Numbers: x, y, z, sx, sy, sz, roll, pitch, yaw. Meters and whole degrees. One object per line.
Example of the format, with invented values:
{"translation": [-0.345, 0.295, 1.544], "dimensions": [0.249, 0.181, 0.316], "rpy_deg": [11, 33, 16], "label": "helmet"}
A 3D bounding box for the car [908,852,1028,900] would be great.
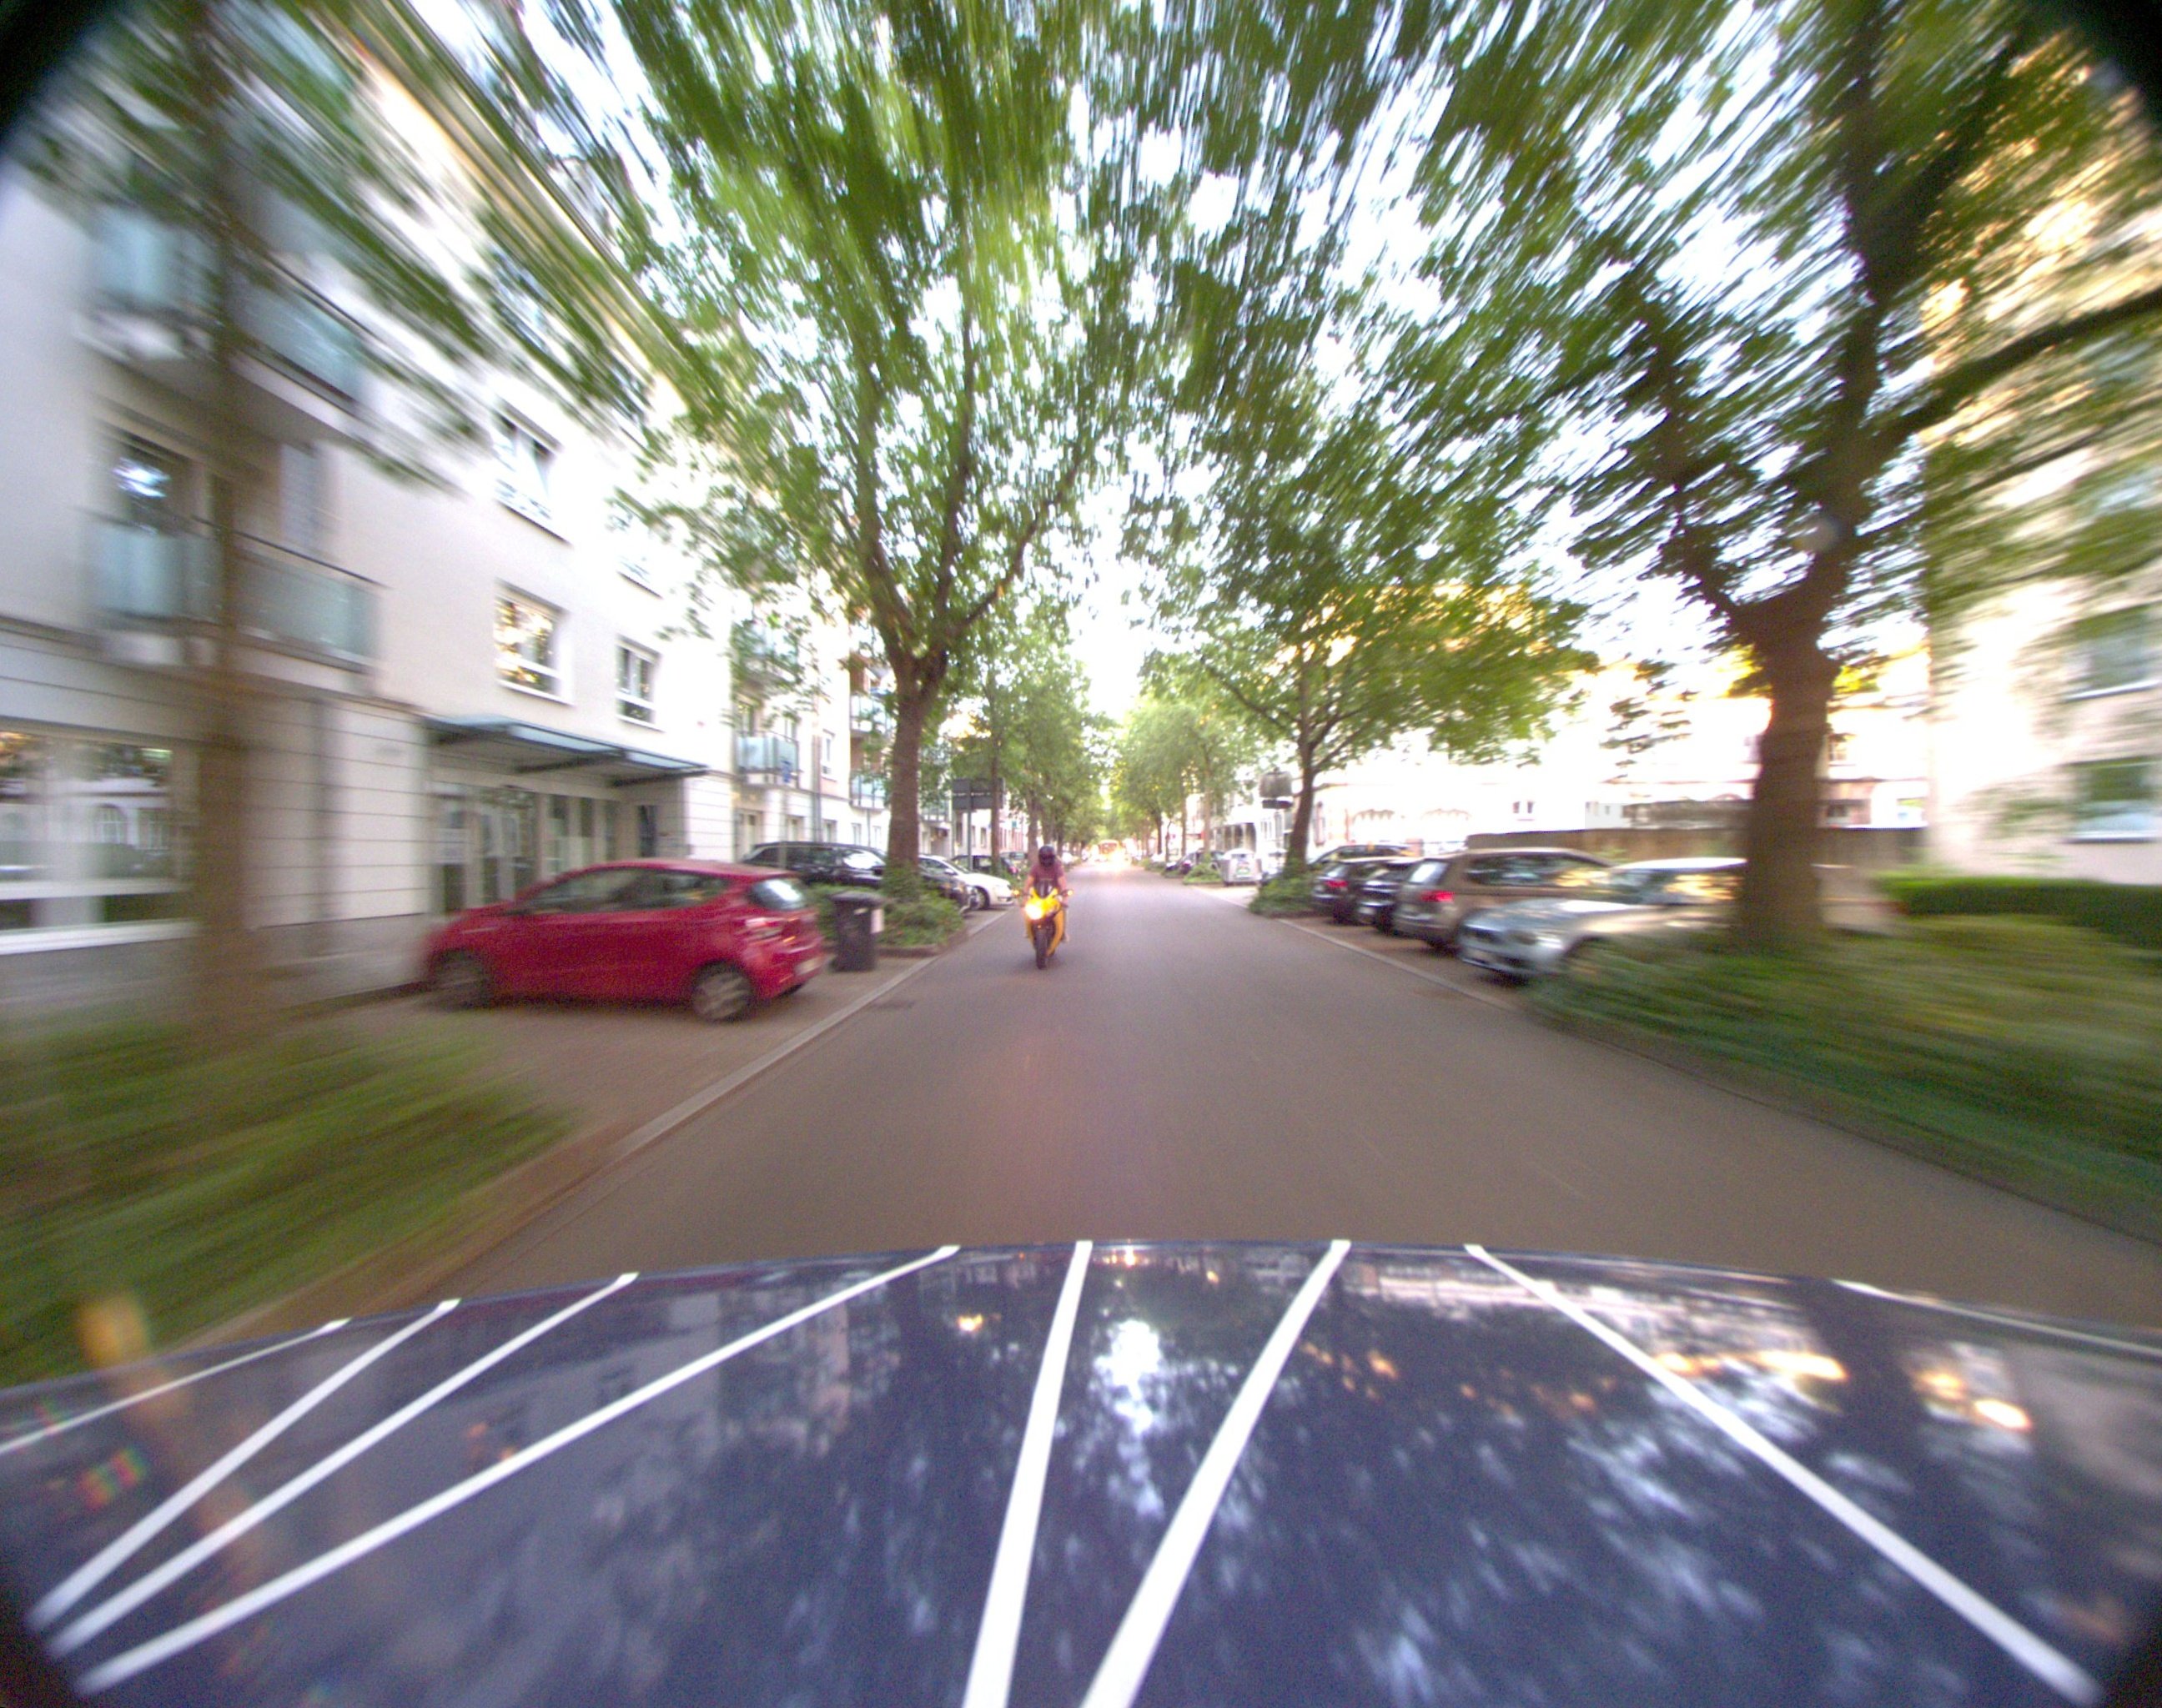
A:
{"translation": [-3.952, 0.756, 27.079], "dimensions": [3.998, 1.466, 1.913], "rpy_deg": [3, 0, -3], "label": "car"}

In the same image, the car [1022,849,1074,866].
{"translation": [-2.973, 0.296, 69.215], "dimensions": [4.594, 1.461, 1.696], "rpy_deg": [1, 1, 3], "label": "car"}

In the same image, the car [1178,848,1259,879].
{"translation": [7.314, 0.502, 40.807], "dimensions": [3.997, 1.579, 1.828], "rpy_deg": [-1, 1, -1], "label": "car"}

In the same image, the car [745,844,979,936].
{"translation": [-4.473, 0.709, 16.098], "dimensions": [4.396, 1.694, 1.894], "rpy_deg": [2, 1, -4], "label": "car"}

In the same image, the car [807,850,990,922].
{"translation": [-4.416, 0.738, 18.762], "dimensions": [3.996, 1.516, 1.727], "rpy_deg": [2, 1, 3], "label": "car"}

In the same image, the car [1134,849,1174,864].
{"translation": [8.630, 0.304, 90.146], "dimensions": [4.475, 1.748, 1.791], "rpy_deg": [0, 1, -2], "label": "car"}

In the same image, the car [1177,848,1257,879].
{"translation": [7.283, 0.491, 40.905], "dimensions": [3.997, 1.582, 1.789], "rpy_deg": [-1, 1, 1], "label": "car"}

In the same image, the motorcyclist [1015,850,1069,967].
{"translation": [-0.541, 0.753, 10.931], "dimensions": [0.722, 1.605, 0.915], "rpy_deg": [-1, 1, -1], "label": "motorcyclist"}

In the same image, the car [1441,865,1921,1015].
{"translation": [6.586, 0.892, 8.677], "dimensions": [4.110, 1.371, 1.746], "rpy_deg": [-2, 1, -1], "label": "car"}

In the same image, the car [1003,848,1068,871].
{"translation": [-3.206, 0.393, 54.476], "dimensions": [4.366, 1.461, 1.732], "rpy_deg": [2, 1, 6], "label": "car"}

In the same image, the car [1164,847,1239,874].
{"translation": [7.729, 0.422, 48.856], "dimensions": [4.547, 1.673, 1.621], "rpy_deg": [0, 1, -2], "label": "car"}

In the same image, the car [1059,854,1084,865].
{"translation": [-1.493, 0.877, 120.149], "dimensions": [3.997, 1.752, 2.000], "rpy_deg": [0, 1, -1], "label": "car"}

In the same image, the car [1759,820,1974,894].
{"translation": [22.770, 0.115, 22.337], "dimensions": [1.786, 1.944, 4.417], "rpy_deg": [-1, -1, 1], "label": "car"}

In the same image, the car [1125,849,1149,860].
{"translation": [9.237, 0.086, 125.211], "dimensions": [3.858, 1.623, 1.675], "rpy_deg": [1, 1, 2], "label": "car"}

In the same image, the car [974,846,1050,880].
{"translation": [-3.699, 0.465, 41.341], "dimensions": [3.871, 1.657, 1.926], "rpy_deg": [2, 1, 1], "label": "car"}

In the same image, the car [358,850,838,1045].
{"translation": [-4.614, 0.844, 7.697], "dimensions": [3.674, 1.539, 1.780], "rpy_deg": [3, 2, -1], "label": "car"}

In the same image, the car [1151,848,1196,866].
{"translation": [8.401, 0.259, 69.189], "dimensions": [4.062, 1.519, 1.622], "rpy_deg": [-1, 0, 5], "label": "car"}

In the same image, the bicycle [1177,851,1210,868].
{"translation": [6.913, 0.341, 46.745], "dimensions": [1.906, 1.019, 0.479], "rpy_deg": [0, 1, 0], "label": "bicycle"}

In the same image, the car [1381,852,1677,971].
{"translation": [6.559, 0.801, 11.414], "dimensions": [3.413, 1.600, 1.760], "rpy_deg": [-1, 1, -1], "label": "car"}

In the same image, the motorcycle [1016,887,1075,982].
{"translation": [-0.479, 1.081, 10.813], "dimensions": [0.736, 1.115, 2.108], "rpy_deg": [-1, 0, -1], "label": "motorcycle"}

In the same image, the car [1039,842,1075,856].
{"translation": [-2.625, -0.524, 83.539], "dimensions": [3.859, 1.390, 1.674], "rpy_deg": [1, 0, -2], "label": "car"}

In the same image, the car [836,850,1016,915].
{"translation": [-4.204, 0.757, 21.112], "dimensions": [4.583, 1.543, 1.772], "rpy_deg": [2, 1, 1], "label": "car"}

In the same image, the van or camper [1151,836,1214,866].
{"translation": [8.135, -0.249, 61.047], "dimensions": [4.829, 2.413, 1.945], "rpy_deg": [0, 1, 1], "label": "van or camper"}

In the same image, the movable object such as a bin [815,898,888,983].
{"translation": [-3.063, 1.148, 10.181], "dimensions": [0.776, 1.061, 0.589], "rpy_deg": [-1, 1, 1], "label": "movable object such as a bin"}

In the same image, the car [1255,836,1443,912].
{"translation": [7.251, 0.517, 20.912], "dimensions": [4.429, 1.881, 2.000], "rpy_deg": [-1, 1, 1], "label": "car"}

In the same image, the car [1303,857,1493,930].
{"translation": [6.723, 0.813, 16.349], "dimensions": [3.413, 1.434, 1.594], "rpy_deg": [-1, 1, -1], "label": "car"}

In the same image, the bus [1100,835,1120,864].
{"translation": [4.311, -0.662, 113.095], "dimensions": [2.833, 4.086, 7.832], "rpy_deg": [0, 0, 2], "label": "bus"}

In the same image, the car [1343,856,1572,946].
{"translation": [6.859, 0.820, 14.079], "dimensions": [3.413, 1.498, 1.664], "rpy_deg": [-1, 1, -1], "label": "car"}
